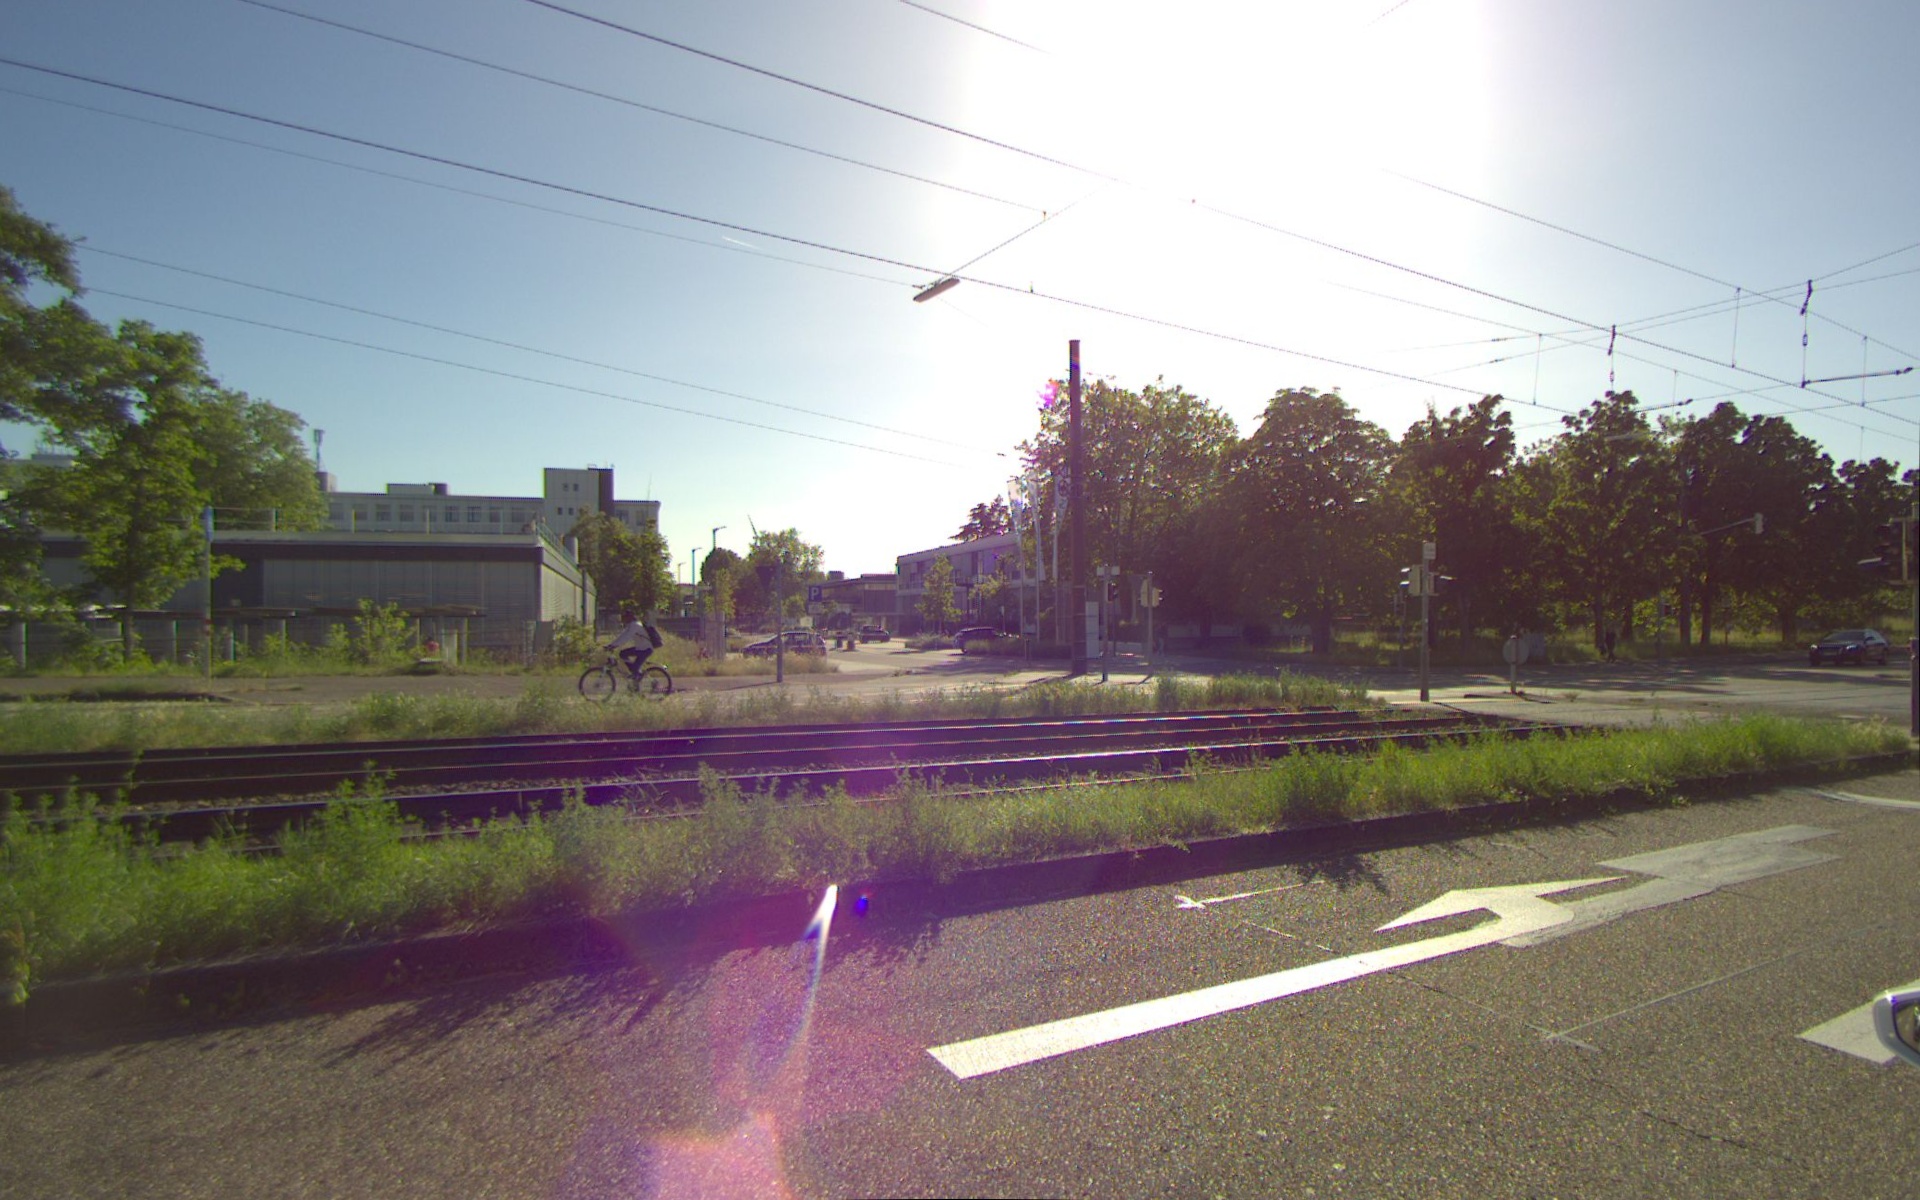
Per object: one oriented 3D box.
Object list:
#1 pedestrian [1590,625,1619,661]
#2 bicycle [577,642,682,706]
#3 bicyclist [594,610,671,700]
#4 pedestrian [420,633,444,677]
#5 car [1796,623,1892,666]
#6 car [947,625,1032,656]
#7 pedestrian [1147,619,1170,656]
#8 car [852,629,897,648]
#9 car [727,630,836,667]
[{"bbox_3d":[31.334,2.093,48.861,0.919,1.757,0.761,0,-1,-2],"label":"pedestrian"},{"bbox_3d":[-6.154,1.357,18.736,1.760,1.117,0.693,1,0,-30],"label":"bicycle"},{"bbox_3d":[-6.116,1.013,18.753,1.222,1.614,0.799,1,0,-29],"label":"bicyclist"},{"bbox_3d":[-16.104,1.658,30.642,0.432,1.318,0.441,0,-1,18],"label":"pedestrian"},{"bbox_3d":[41.053,2.040,46.628,4.739,1.834,2.082,0,-3,-32],"label":"car"},{"bbox_3d":[1.795,2.462,60.886,4.768,1.751,2.042,1,0,-21],"label":"car"},{"bbox_3d":[9.982,1.883,50.497,0.807,1.811,0.950,0,-1,-16],"label":"pedestrian"},{"bbox_3d":[-7.534,3.430,88.758,3.566,1.611,1.792,1,-1,-23],"label":"car"},{"bbox_3d":[-9.085,2.462,51.091,5.210,1.772,2.164,1,0,-19],"label":"car"}]
